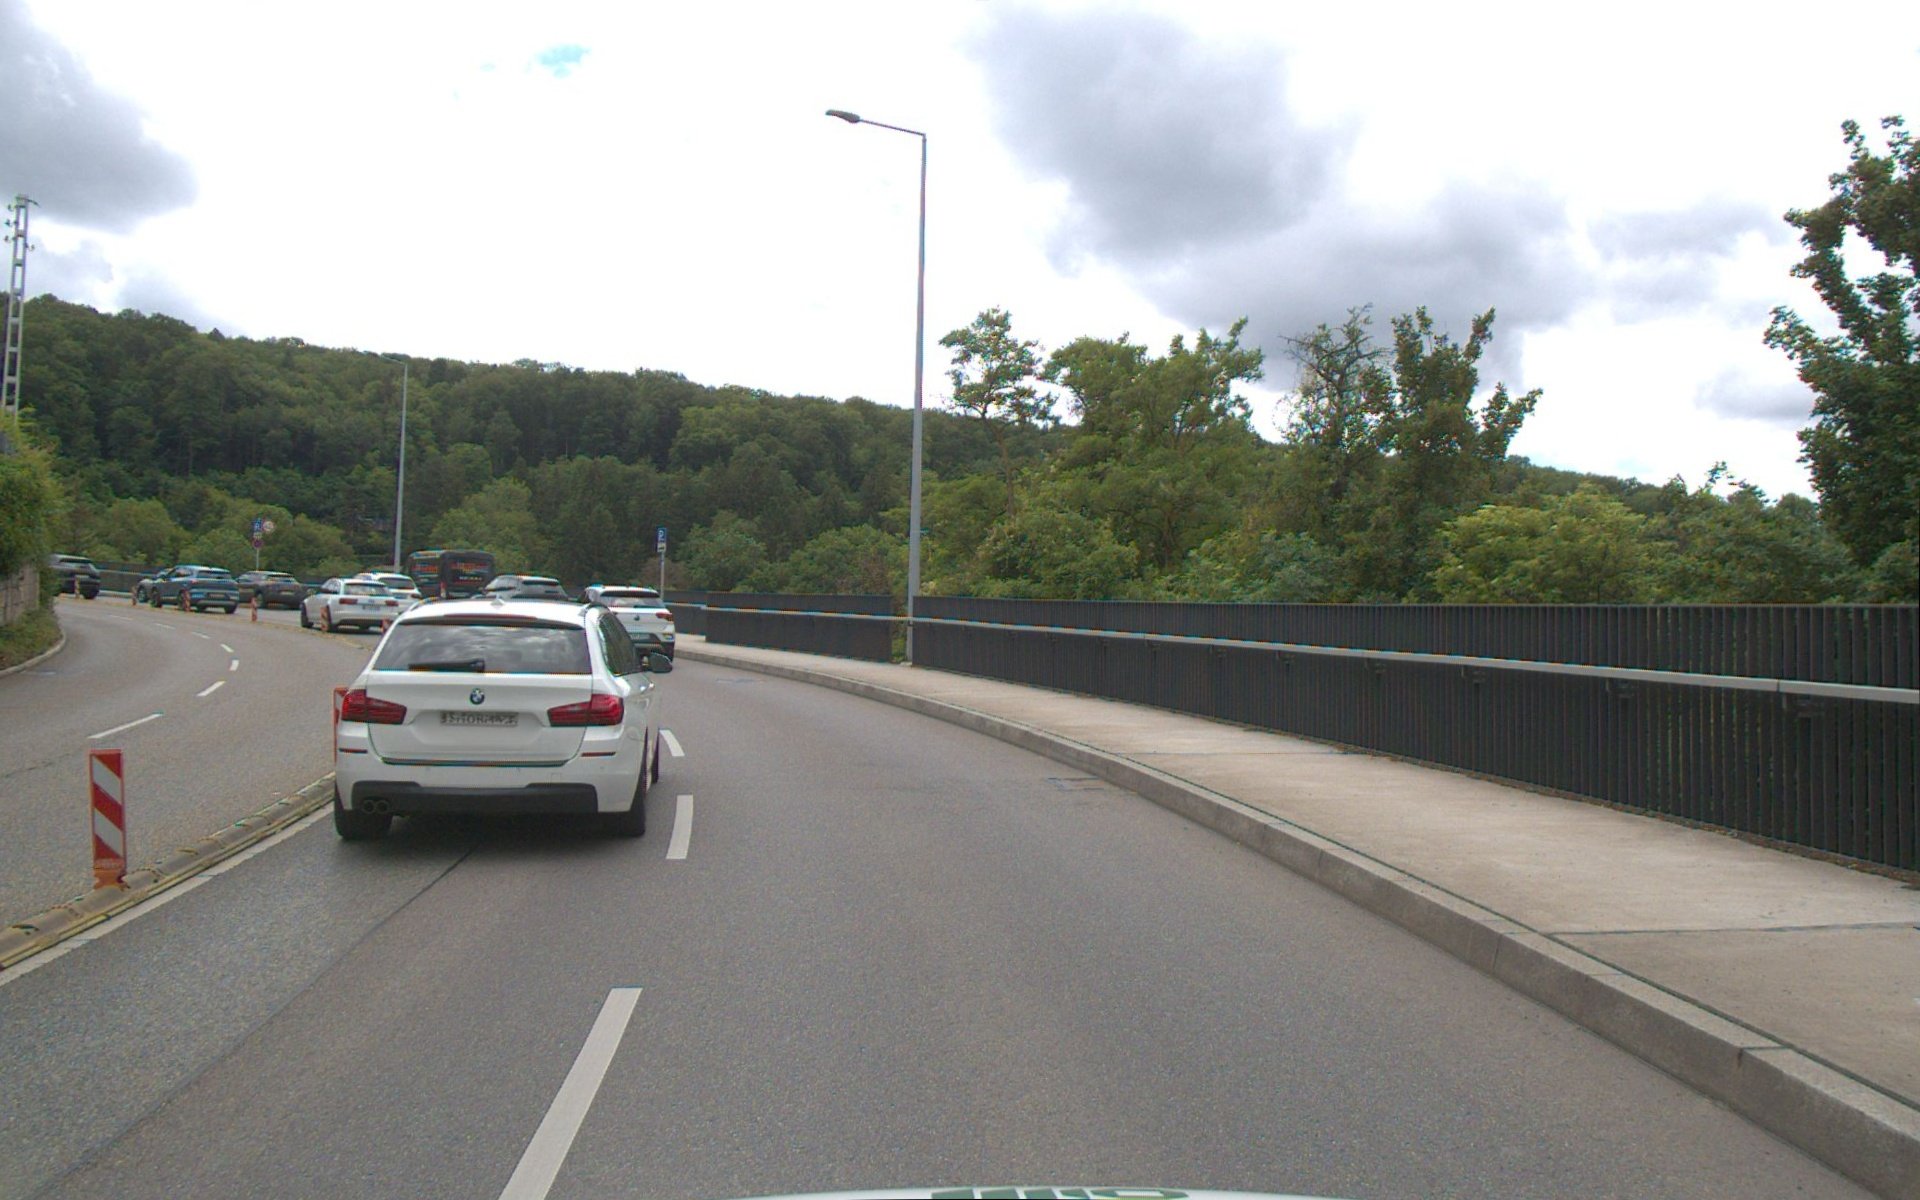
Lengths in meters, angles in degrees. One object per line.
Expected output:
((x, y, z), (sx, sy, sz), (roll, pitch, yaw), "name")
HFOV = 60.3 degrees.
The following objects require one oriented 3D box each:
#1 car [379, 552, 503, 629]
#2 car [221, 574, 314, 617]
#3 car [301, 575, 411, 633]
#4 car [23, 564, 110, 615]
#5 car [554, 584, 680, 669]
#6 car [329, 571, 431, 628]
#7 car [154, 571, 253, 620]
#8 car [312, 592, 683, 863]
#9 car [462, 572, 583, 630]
((-18.228, -0.374, 57.887), (2.153, 2.565, 5.687), (0, 1, -40), "car")
((-28.691, -0.201, 68.514), (4.014, 1.570, 1.871), (2, -2, 40), "car")
((-16.994, 0.111, 46.414), (1.975, 1.529, 4.615), (0, 0, -33), "car")
((-35.531, -0.374, 65.717), (3.930, 1.793, 1.863), (-2, -4, 43), "car")
((-7.067, 0.507, 33.820), (1.803, 1.634, 3.971), (0, 0, -23), "car")
((-18.637, -0.010, 53.038), (1.979, 1.748, 4.059), (0, 0, -37), "car")
((-26.551, -0.158, 58.015), (1.985, 1.677, 3.935), (0, 0, -44), "car")
((-2.923, 0.699, 11.397), (1.793, 1.485, 4.479), (0, 0, -7), "car")
((-13.932, 0.022, 52.523), (1.979, 1.748, 4.982), (1, 0, -37), "car")
